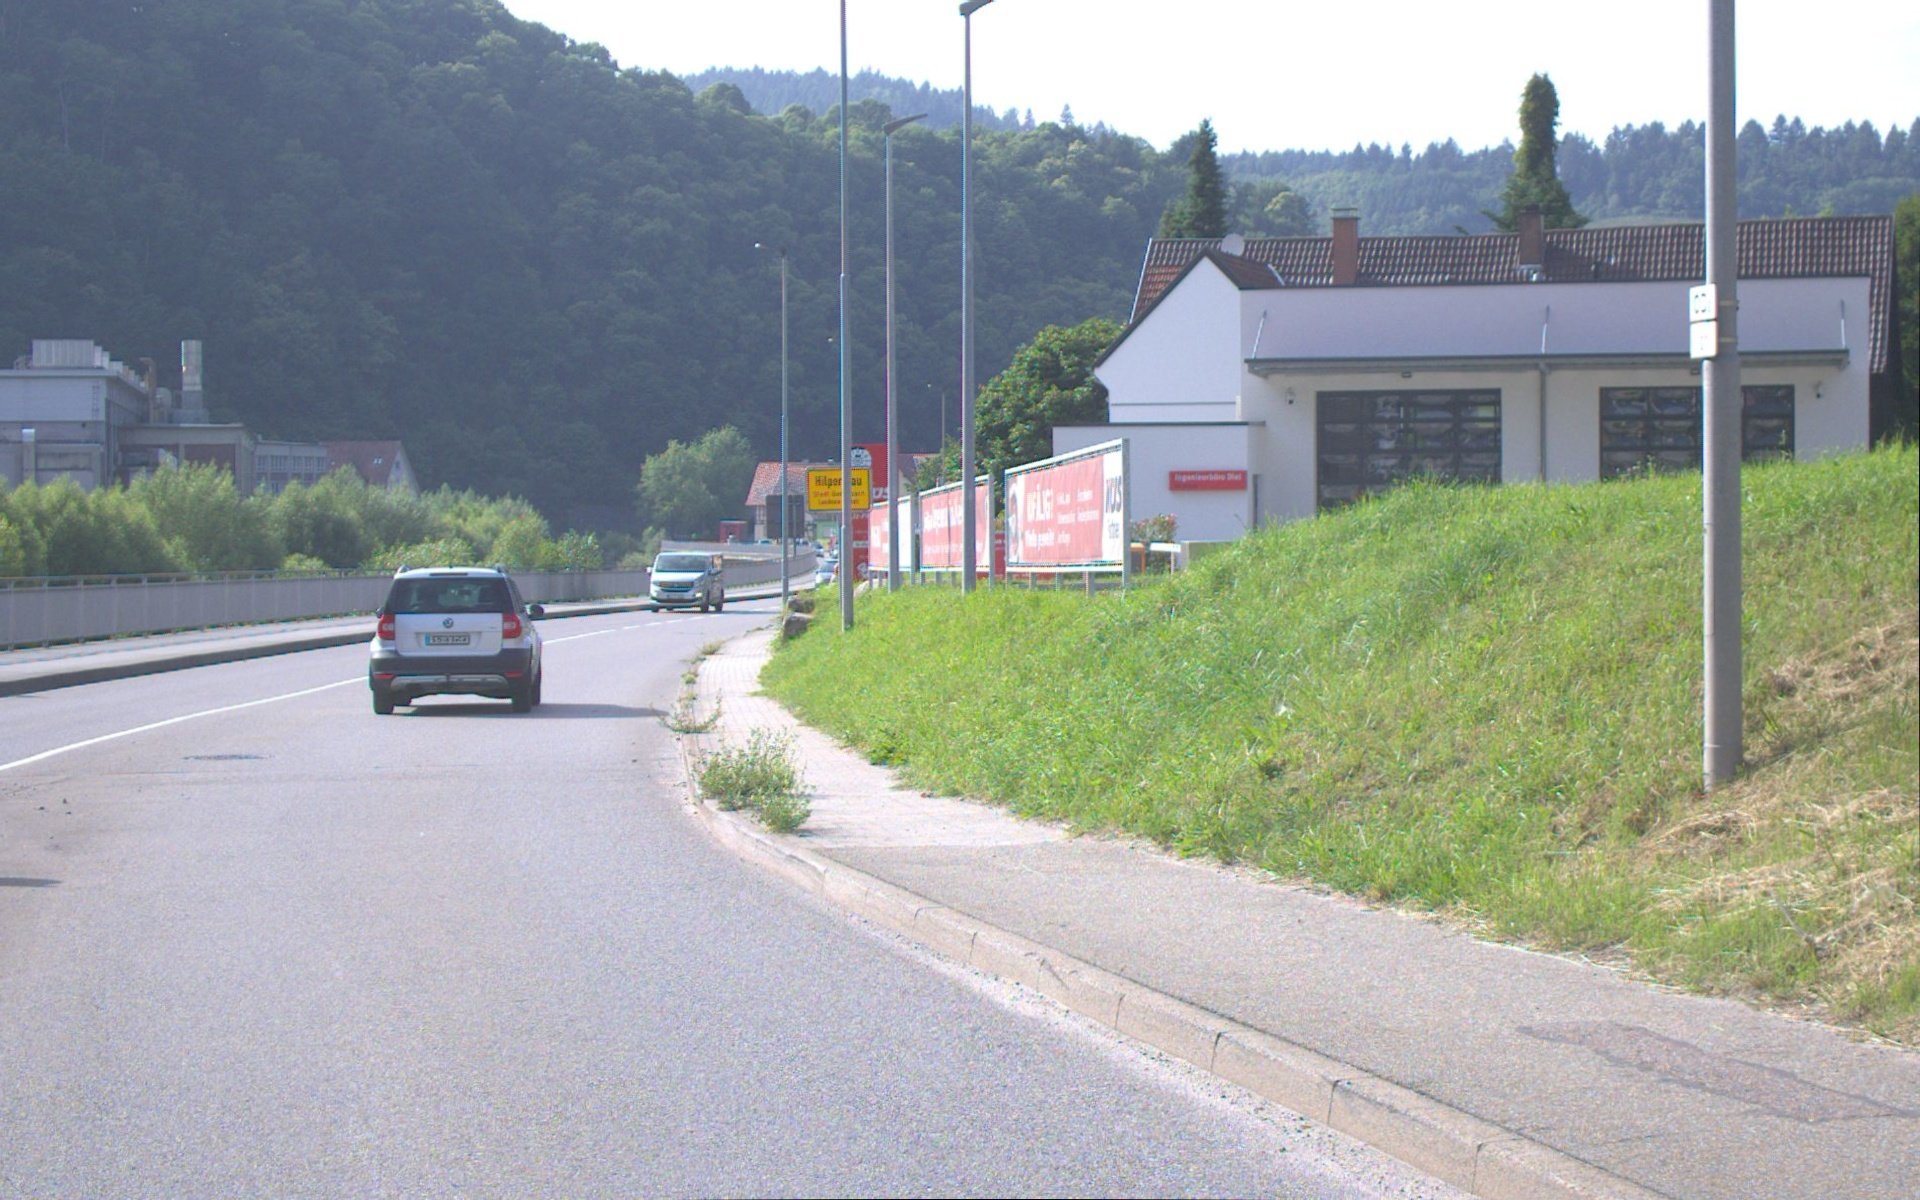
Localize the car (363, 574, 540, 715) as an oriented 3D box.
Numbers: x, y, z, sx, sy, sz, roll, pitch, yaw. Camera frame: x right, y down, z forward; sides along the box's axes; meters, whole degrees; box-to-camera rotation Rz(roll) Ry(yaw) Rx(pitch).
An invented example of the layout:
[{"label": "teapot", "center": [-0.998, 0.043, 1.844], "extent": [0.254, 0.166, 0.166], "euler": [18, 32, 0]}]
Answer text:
[{"label": "car", "center": [-5.820, 0.477, 39.727], "extent": [1.860, 1.539, 4.374], "euler": [0, 0, -6]}]

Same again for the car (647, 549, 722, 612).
[{"label": "car", "center": [-9.033, -0.616, 113.039], "extent": [1.920, 1.961, 5.146], "euler": [-1, 0, 1]}]
